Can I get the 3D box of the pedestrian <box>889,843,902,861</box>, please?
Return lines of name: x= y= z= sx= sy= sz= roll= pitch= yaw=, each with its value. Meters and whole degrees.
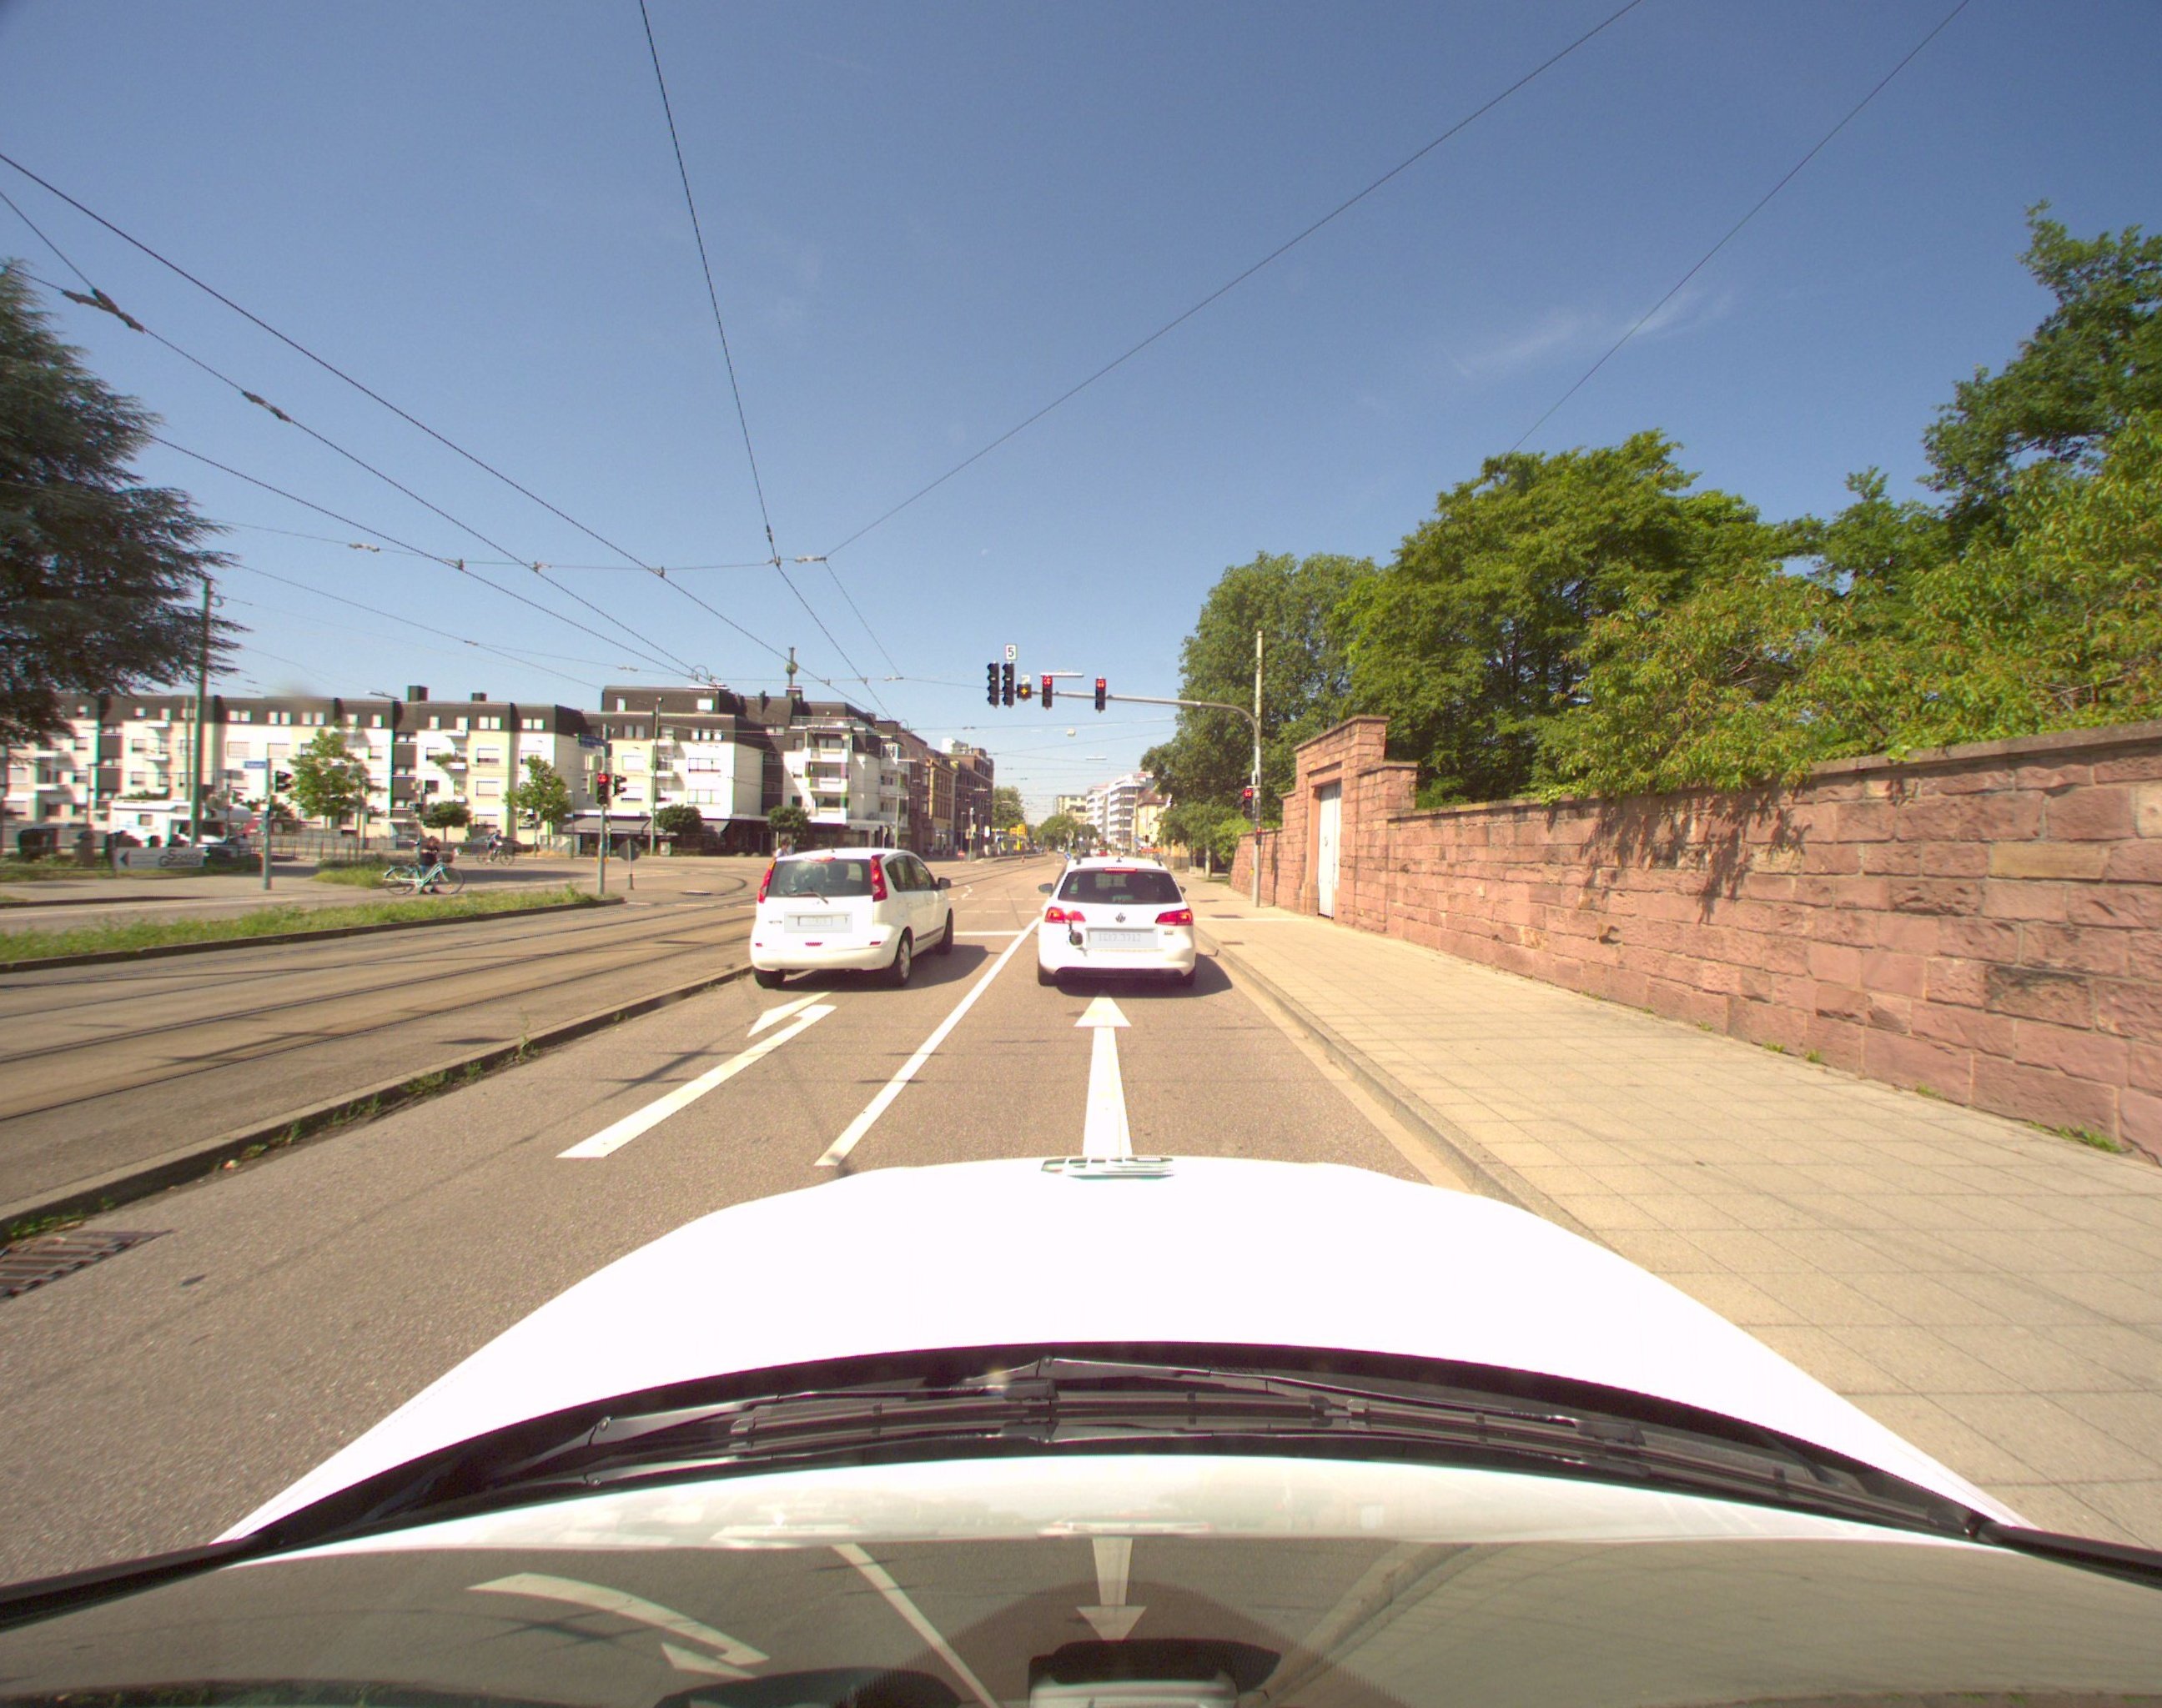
pedestrian: x=-18.073 y=-0.215 z=79.327 sx=0.980 sy=1.743 sz=0.854 roll=0 pitch=-1 yaw=-39

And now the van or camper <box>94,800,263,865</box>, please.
van or camper: x=-45.616 y=-1.040 z=41.278 sx=5.664 sy=3.093 sz=2.575 roll=-1 pitch=-1 yaw=1

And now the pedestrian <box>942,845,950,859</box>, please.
pedestrian: x=-16.807 y=-0.226 z=101.584 sx=0.860 sy=1.743 sz=0.973 roll=0 pitch=-1 yaw=-4

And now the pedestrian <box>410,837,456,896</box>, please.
pedestrian: x=-17.645 y=0.332 z=22.187 sx=0.746 sy=1.571 sz=0.672 roll=0 pitch=0 yaw=-13

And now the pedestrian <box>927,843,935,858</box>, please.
pedestrian: x=-17.616 y=-0.403 z=95.588 sx=0.860 sy=1.743 sz=0.973 roll=0 pitch=-1 yaw=-4

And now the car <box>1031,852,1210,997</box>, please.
car: x=0.460 y=0.712 z=10.240 sx=1.801 sy=1.448 sz=4.002 roll=0 pitch=0 yaw=2

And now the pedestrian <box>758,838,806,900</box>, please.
pedestrian: x=-8.196 y=0.409 z=22.364 sx=0.969 sy=1.651 sz=0.955 roll=-1 pitch=-1 yaw=-3

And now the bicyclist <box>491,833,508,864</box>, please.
bicyclist: x=-30.223 y=-0.266 z=42.303 sx=0.640 sy=1.612 sz=0.557 roll=0 pitch=-1 yaw=-28

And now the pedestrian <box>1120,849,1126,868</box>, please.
pedestrian: x=5.132 y=0.578 z=99.791 sx=0.687 sy=2.325 sz=1.233 roll=-1 pitch=-1 yaw=3

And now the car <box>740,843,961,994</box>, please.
car: x=-2.704 y=0.652 z=10.458 sx=1.635 sy=1.566 sz=3.805 roll=0 pitch=1 yaw=2

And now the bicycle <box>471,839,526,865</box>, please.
bicycle: x=-30.215 y=-0.095 z=42.300 sx=2.255 sy=1.297 sz=0.555 roll=0 pitch=-1 yaw=-28

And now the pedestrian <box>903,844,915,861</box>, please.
pedestrian: x=-17.866 y=-0.150 z=84.703 sx=0.856 sy=1.743 sz=0.977 roll=-1 pitch=-1 yaw=9

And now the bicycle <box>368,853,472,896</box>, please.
bicycle: x=-17.516 y=0.536 z=21.623 sx=2.021 sy=1.090 sz=0.707 roll=1 pitch=0 yaw=-13
